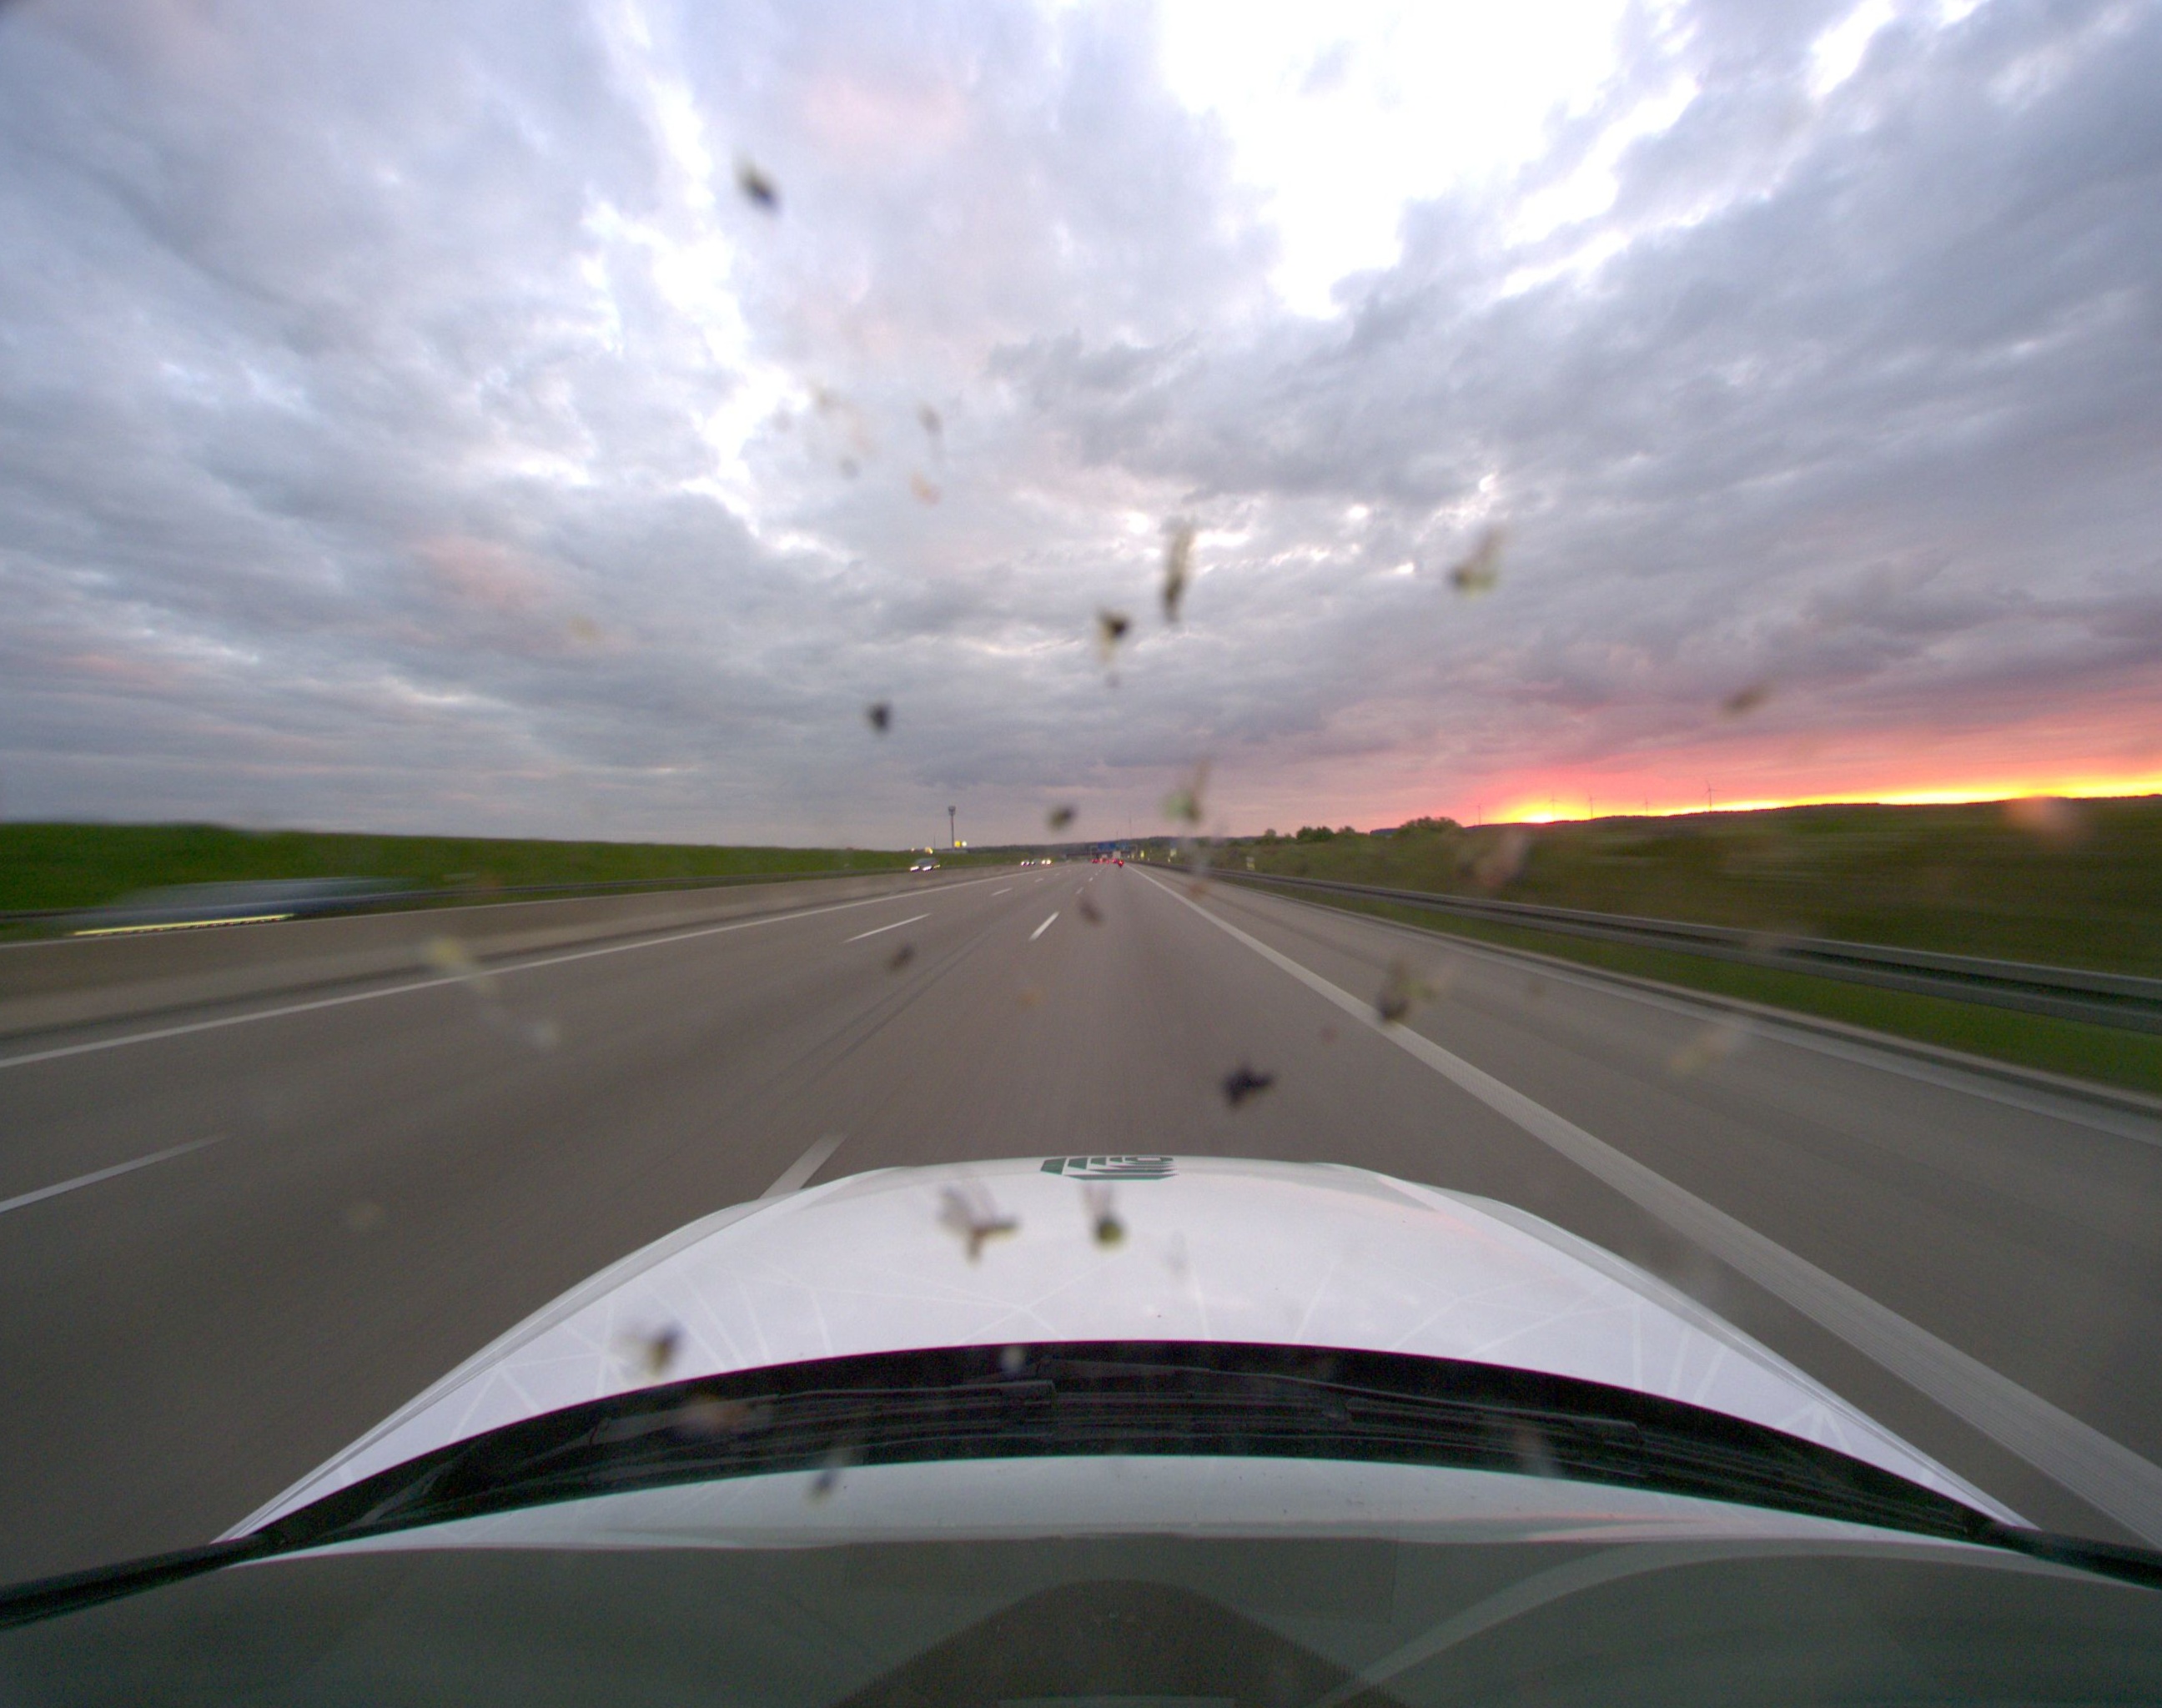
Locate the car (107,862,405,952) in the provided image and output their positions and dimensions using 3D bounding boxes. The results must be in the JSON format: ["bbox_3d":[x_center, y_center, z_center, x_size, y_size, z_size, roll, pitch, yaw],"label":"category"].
[{"bbox_3d":[-17.936,1.057,18.120,1.818,1.662,4.653,0,0,1],"label":"car"}]

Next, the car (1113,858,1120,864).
[{"bbox_3d":[10.351,2.049,239.937,1.911,1.579,4.001,-2,0,1],"label":"car"}]

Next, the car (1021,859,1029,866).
[{"bbox_3d":[-14.136,2.169,206.945,1.624,1.517,4.428,-1,0,1],"label":"car"}]

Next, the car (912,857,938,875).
[{"bbox_3d":[-18.172,1.363,95.092,1.986,1.936,5.092,0,0,2],"label":"car"}]

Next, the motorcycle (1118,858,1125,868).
[{"bbox_3d":[5.573,1.240,112.721,0.898,1.346,2.350,-1,0,2],"label":"motorcycle"}]

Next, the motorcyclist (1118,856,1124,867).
[{"bbox_3d":[5.534,1.090,112.716,0.862,1.487,1.169,0,0,3],"label":"motorcyclist"}]
